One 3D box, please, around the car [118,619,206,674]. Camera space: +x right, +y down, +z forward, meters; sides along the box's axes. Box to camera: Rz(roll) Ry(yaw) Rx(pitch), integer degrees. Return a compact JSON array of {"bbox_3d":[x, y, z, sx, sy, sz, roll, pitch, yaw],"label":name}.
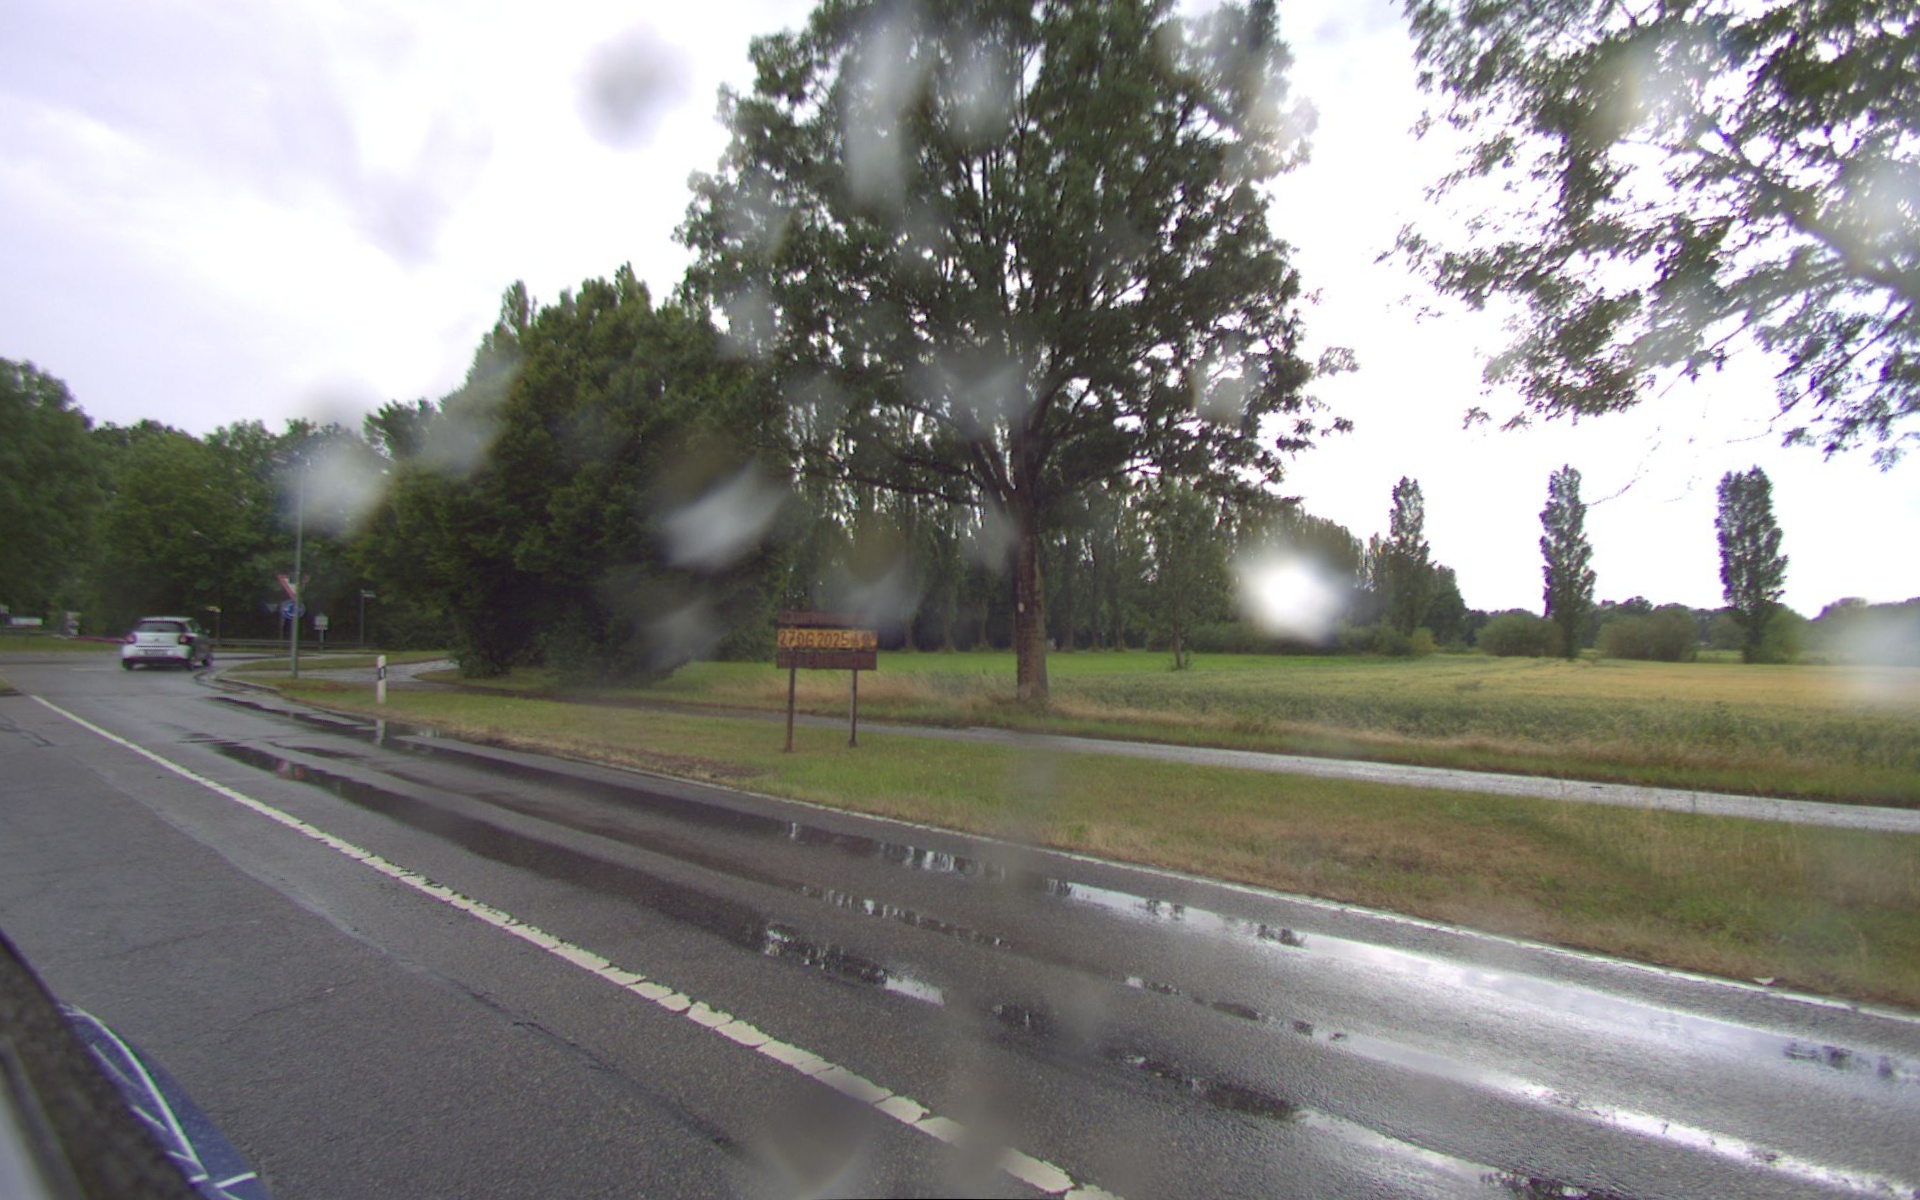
[{"bbox_3d":[-23.822,1.406,30.324,1.653,1.510,3.744,4,-4,-33],"label":"car"}]
